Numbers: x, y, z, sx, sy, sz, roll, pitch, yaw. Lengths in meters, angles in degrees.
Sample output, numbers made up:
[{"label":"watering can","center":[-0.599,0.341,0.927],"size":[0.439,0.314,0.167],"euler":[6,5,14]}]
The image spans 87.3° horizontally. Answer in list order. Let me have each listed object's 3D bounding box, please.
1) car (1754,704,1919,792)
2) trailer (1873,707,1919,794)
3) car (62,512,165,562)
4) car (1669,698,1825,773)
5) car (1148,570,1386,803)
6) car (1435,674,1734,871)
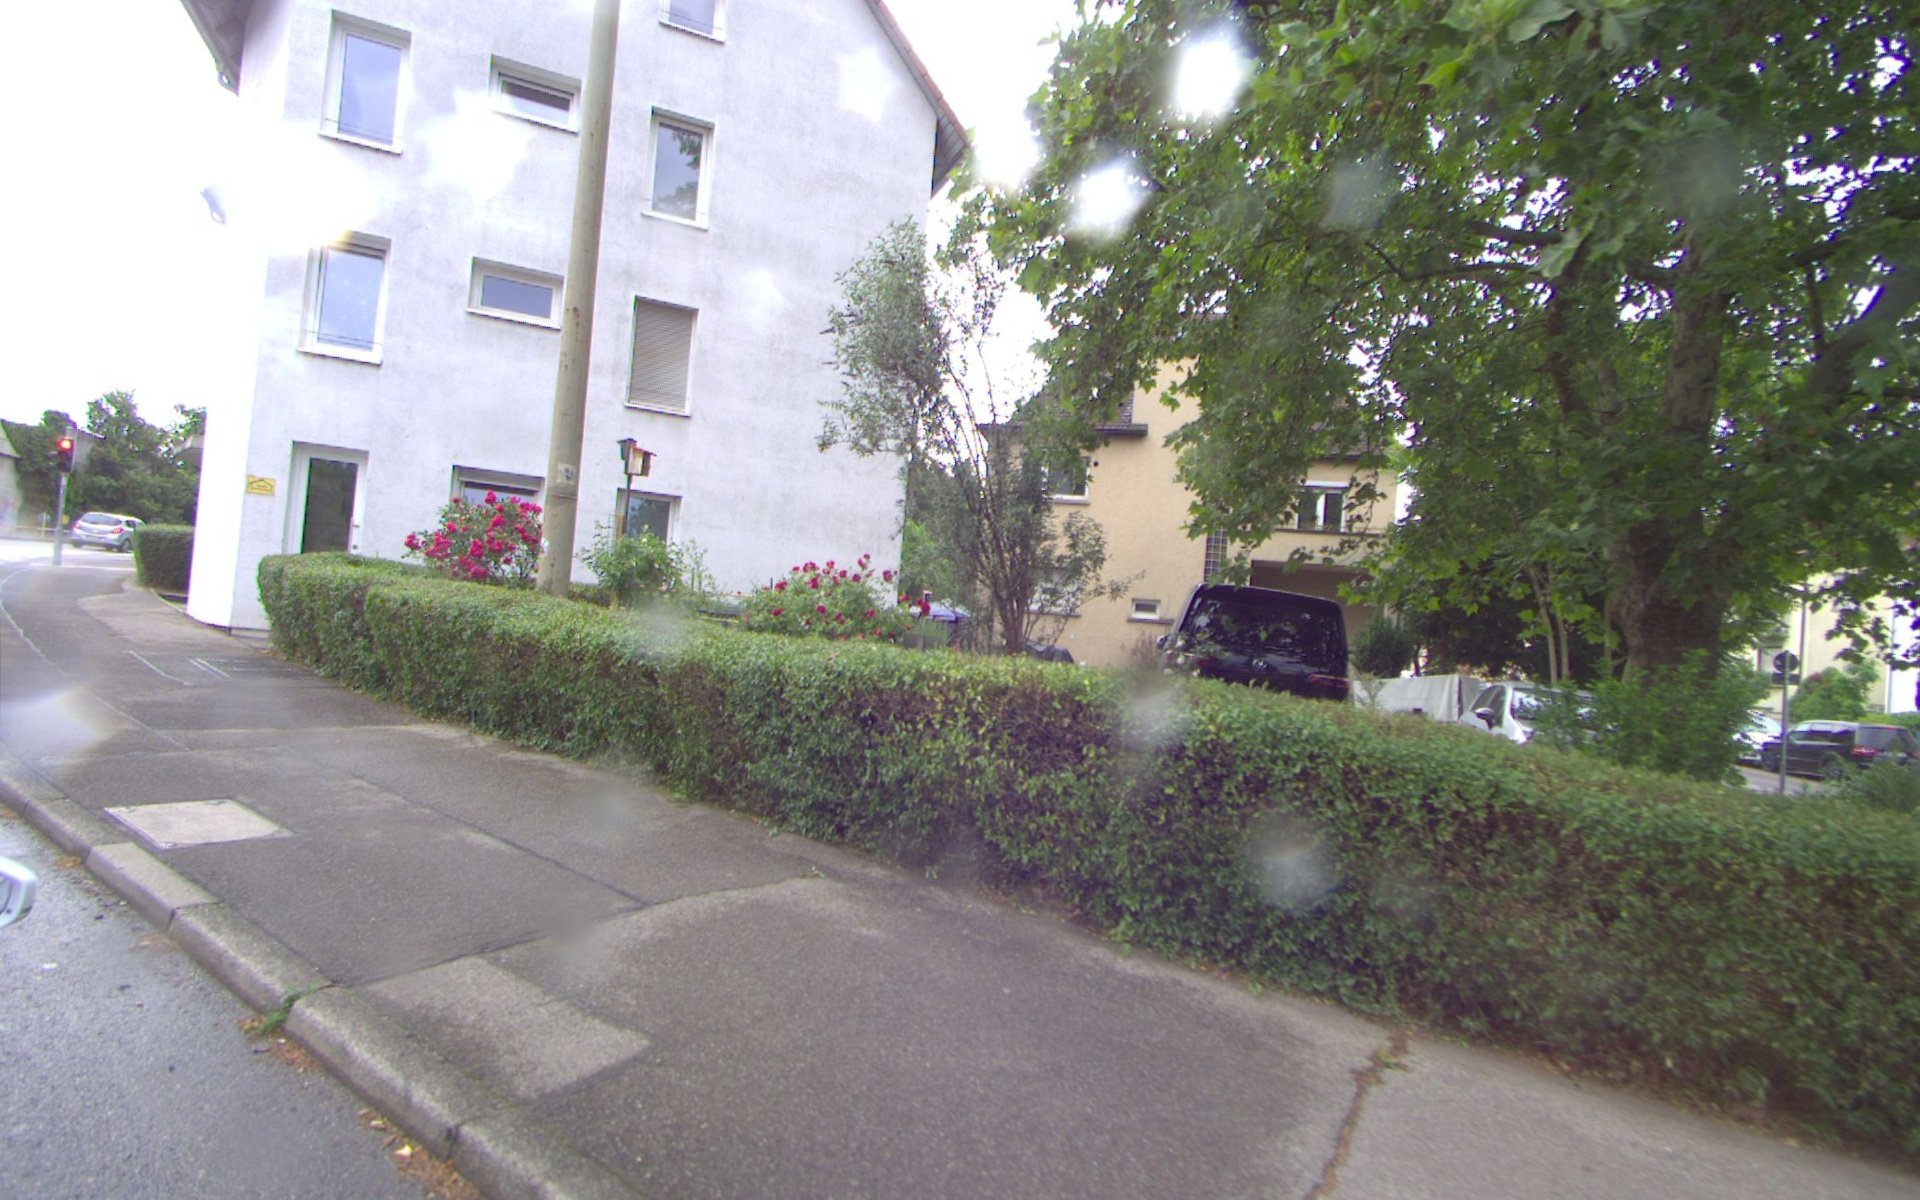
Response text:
[{"label":"car","center":[24.852,4.084,28.189],"size":[1.962,1.861,4.584],"euler":[6,-1,9]},{"label":"trailer","center":[24.290,3.806,24.178],"size":[1.640,2.038,3.494],"euler":[6,-1,8]},{"label":"car","center":[-34.215,-2.508,40.802],"size":[1.973,1.572,3.981],"euler":[7,-2,-23]},{"label":"car","center":[25.961,4.413,33.430],"size":[1.962,1.861,4.584],"euler":[6,-1,9]},{"label":"car","center":[3.271,0.890,11.603],"size":[1.962,1.955,4.419],"euler":[6,-1,11]},{"label":"car","center":[6.898,1.781,11.631],"size":[1.788,1.599,4.003],"euler":[6,-1,17]}]
